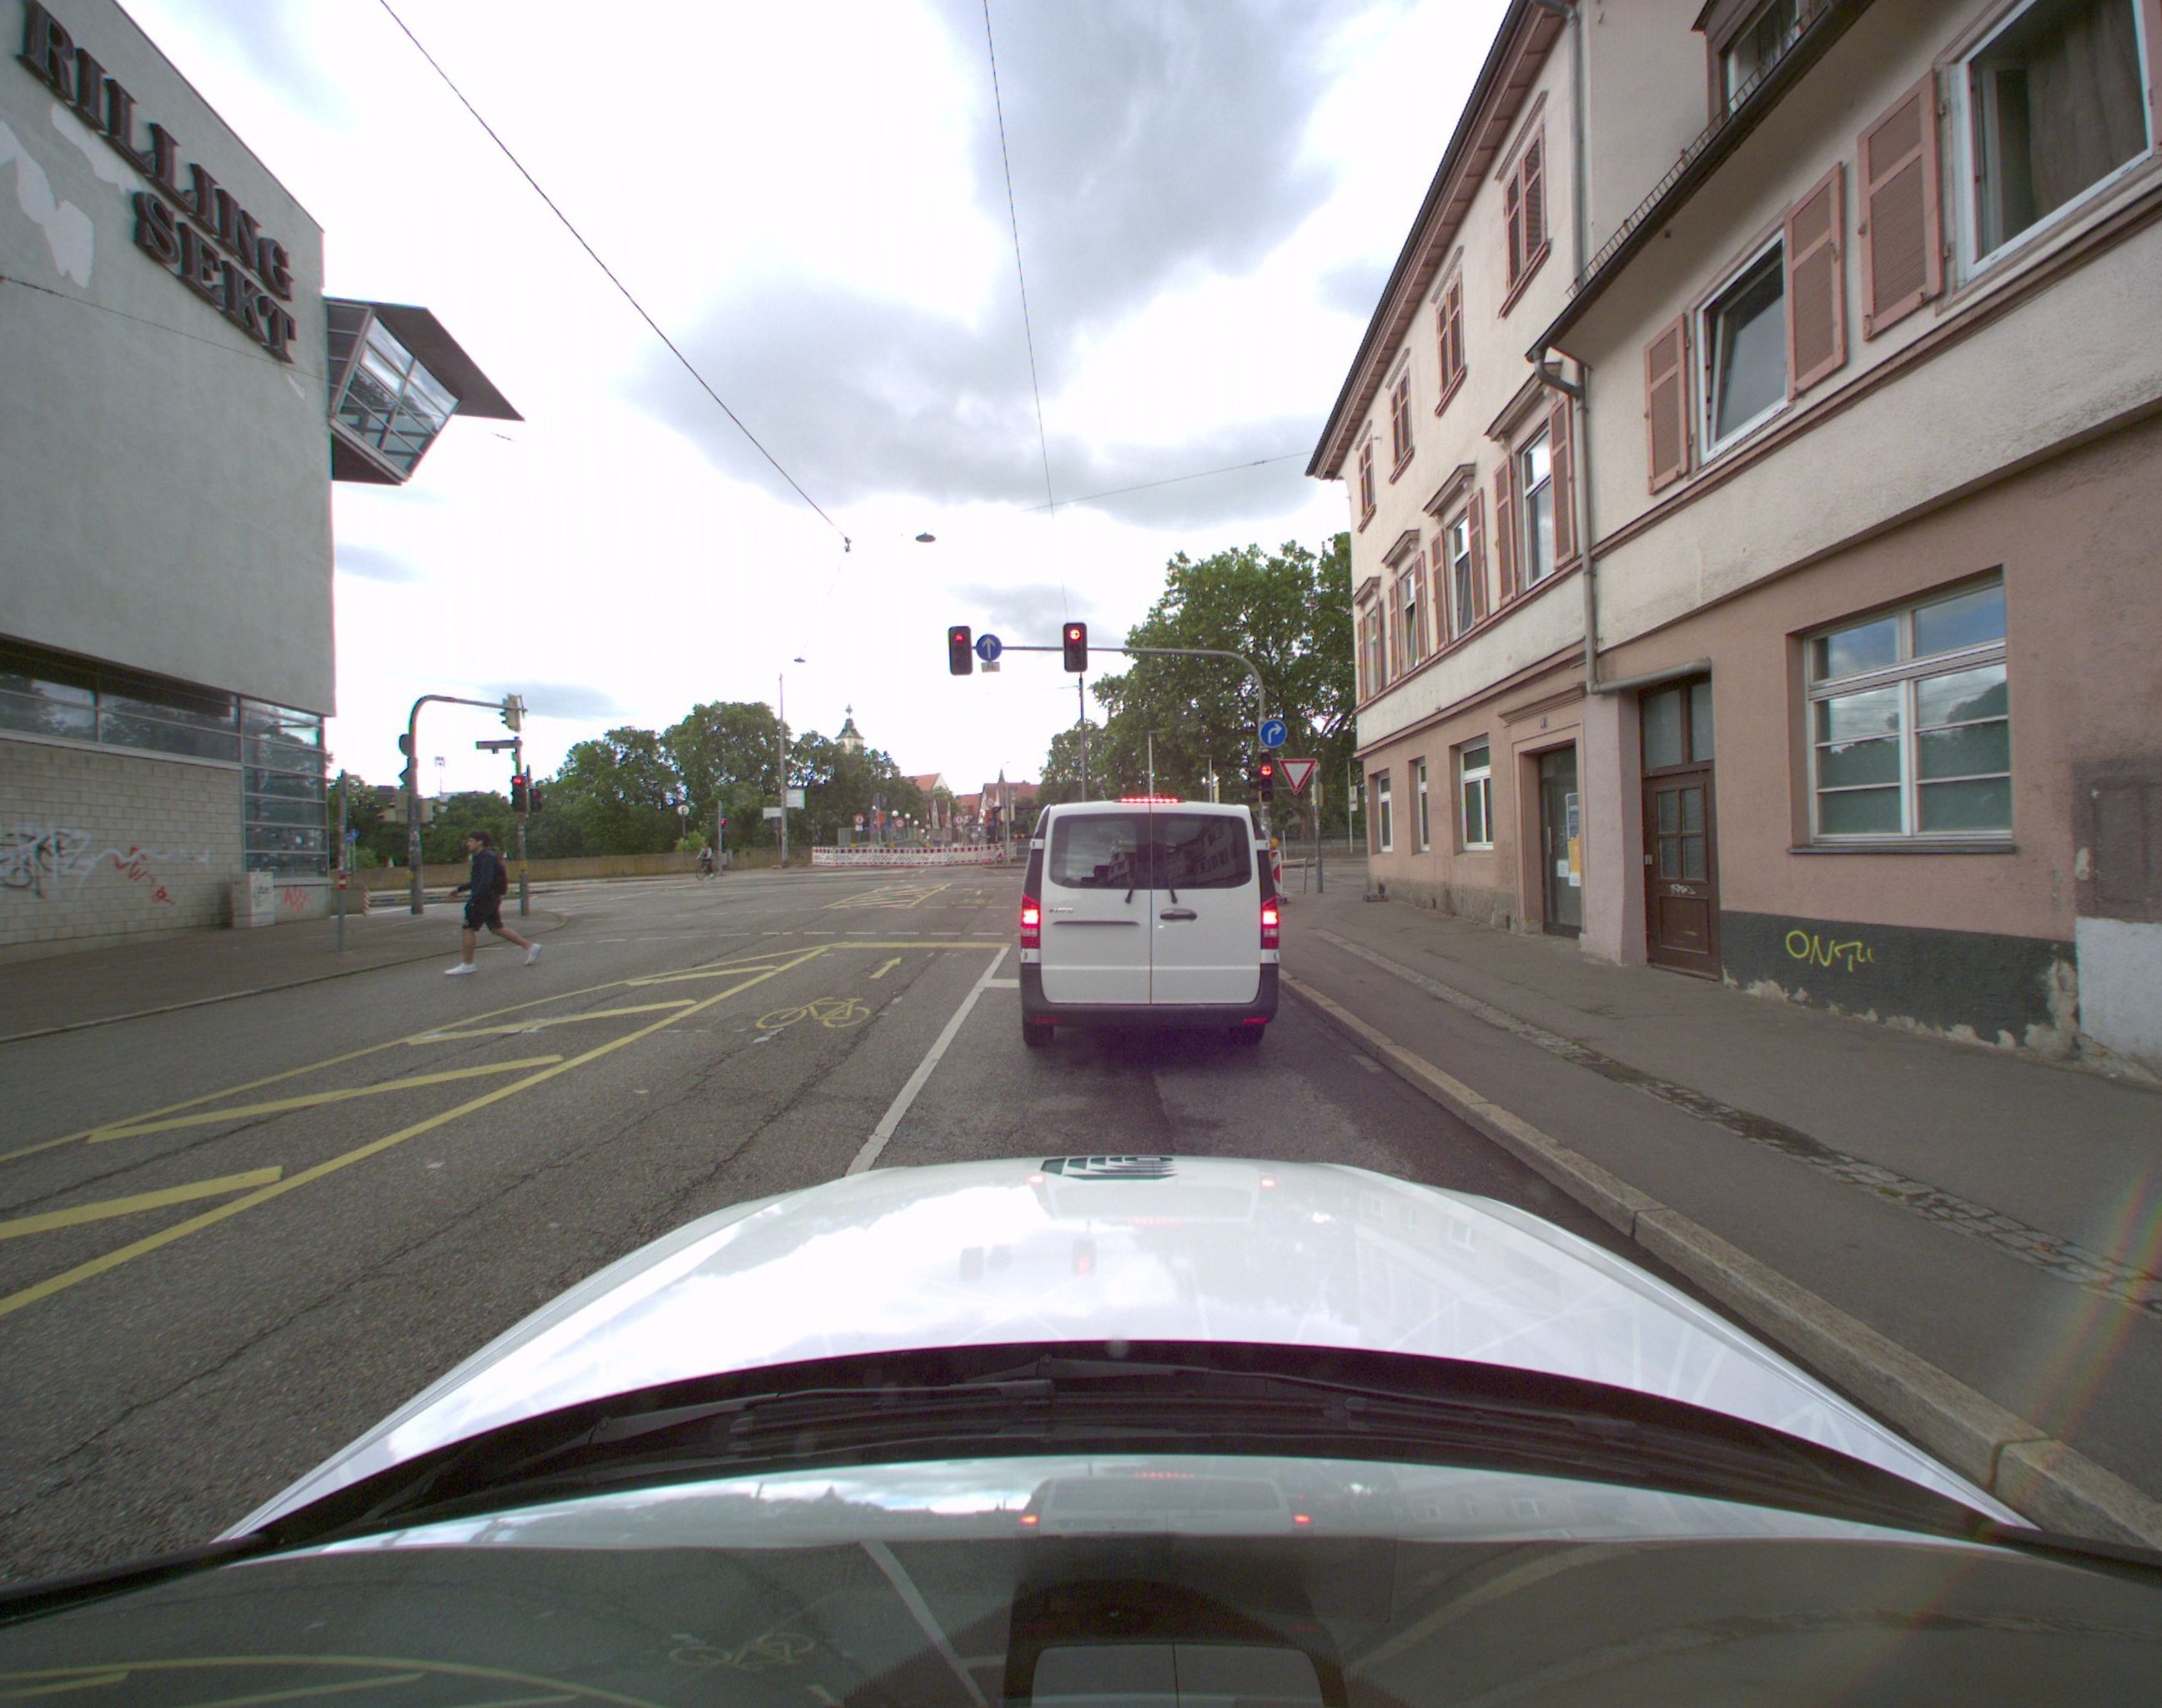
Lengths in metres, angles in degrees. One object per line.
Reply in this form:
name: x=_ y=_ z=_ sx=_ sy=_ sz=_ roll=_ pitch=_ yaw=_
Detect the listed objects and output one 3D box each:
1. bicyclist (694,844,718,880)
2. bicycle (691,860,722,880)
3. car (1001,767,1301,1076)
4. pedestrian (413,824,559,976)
bicyclist: x=-18.351 y=0.385 z=39.850 sx=0.720 sy=1.701 sz=0.811 roll=-2 pitch=0 yaw=1
bicycle: x=-18.323 y=0.761 z=39.881 sx=0.539 sy=0.892 sz=1.880 roll=-2 pitch=0 yaw=1
car: x=0.536 y=0.389 z=7.669 sx=1.943 sy=2.013 sz=4.700 roll=0 pitch=1 yaw=2
pedestrian: x=-7.770 y=0.563 z=10.707 sx=1.084 sy=1.886 sz=1.058 roll=0 pitch=1 yaw=1
